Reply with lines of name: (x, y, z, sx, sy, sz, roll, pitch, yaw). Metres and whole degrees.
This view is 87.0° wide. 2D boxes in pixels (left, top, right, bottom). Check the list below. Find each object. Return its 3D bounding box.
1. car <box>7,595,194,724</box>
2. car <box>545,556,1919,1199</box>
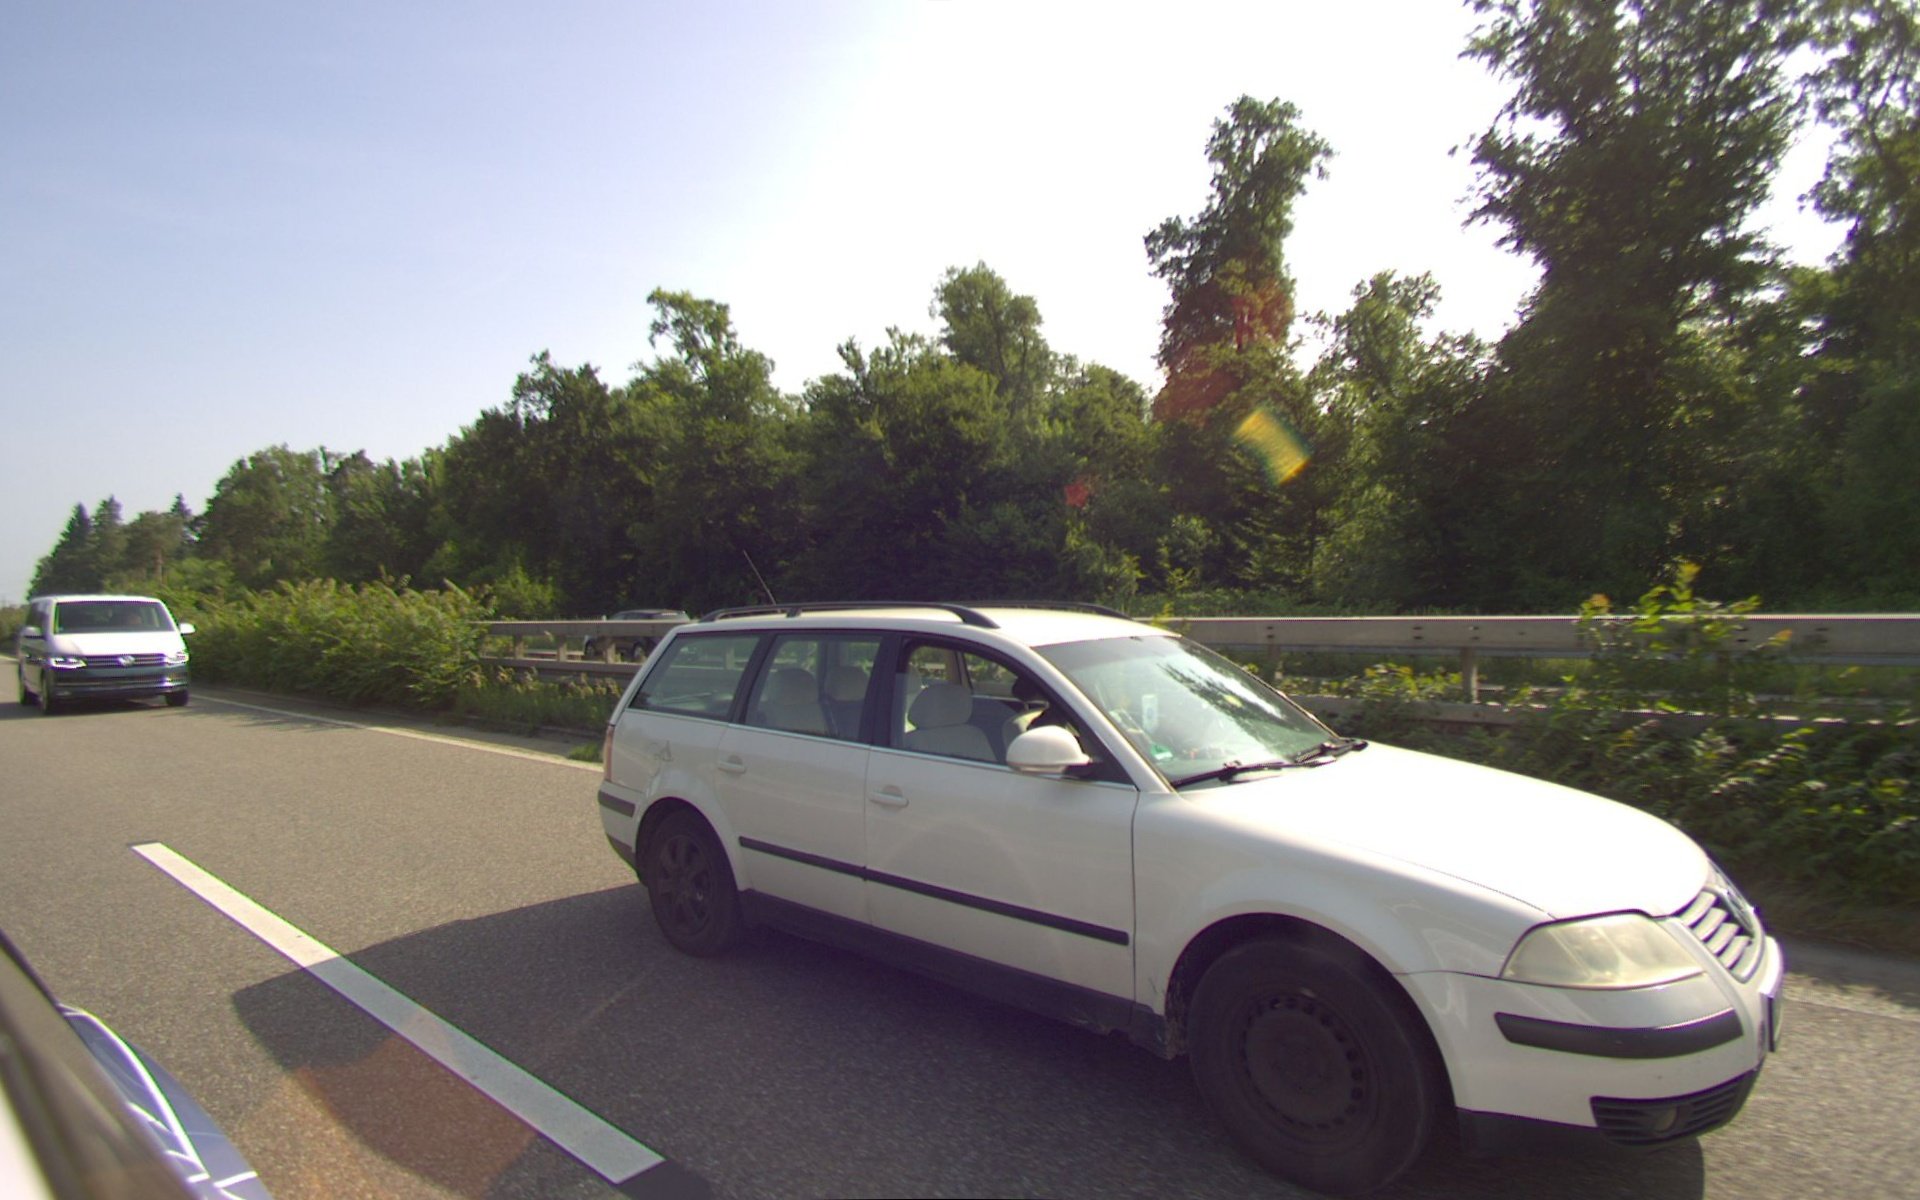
car: (-15.092, 0.947, 17.675, 4.705, 1.960, 1.887, -2, -1, 42)
car: (0.533, 0.713, 3.837, 5.261, 1.497, 1.731, -2, -1, 41)
